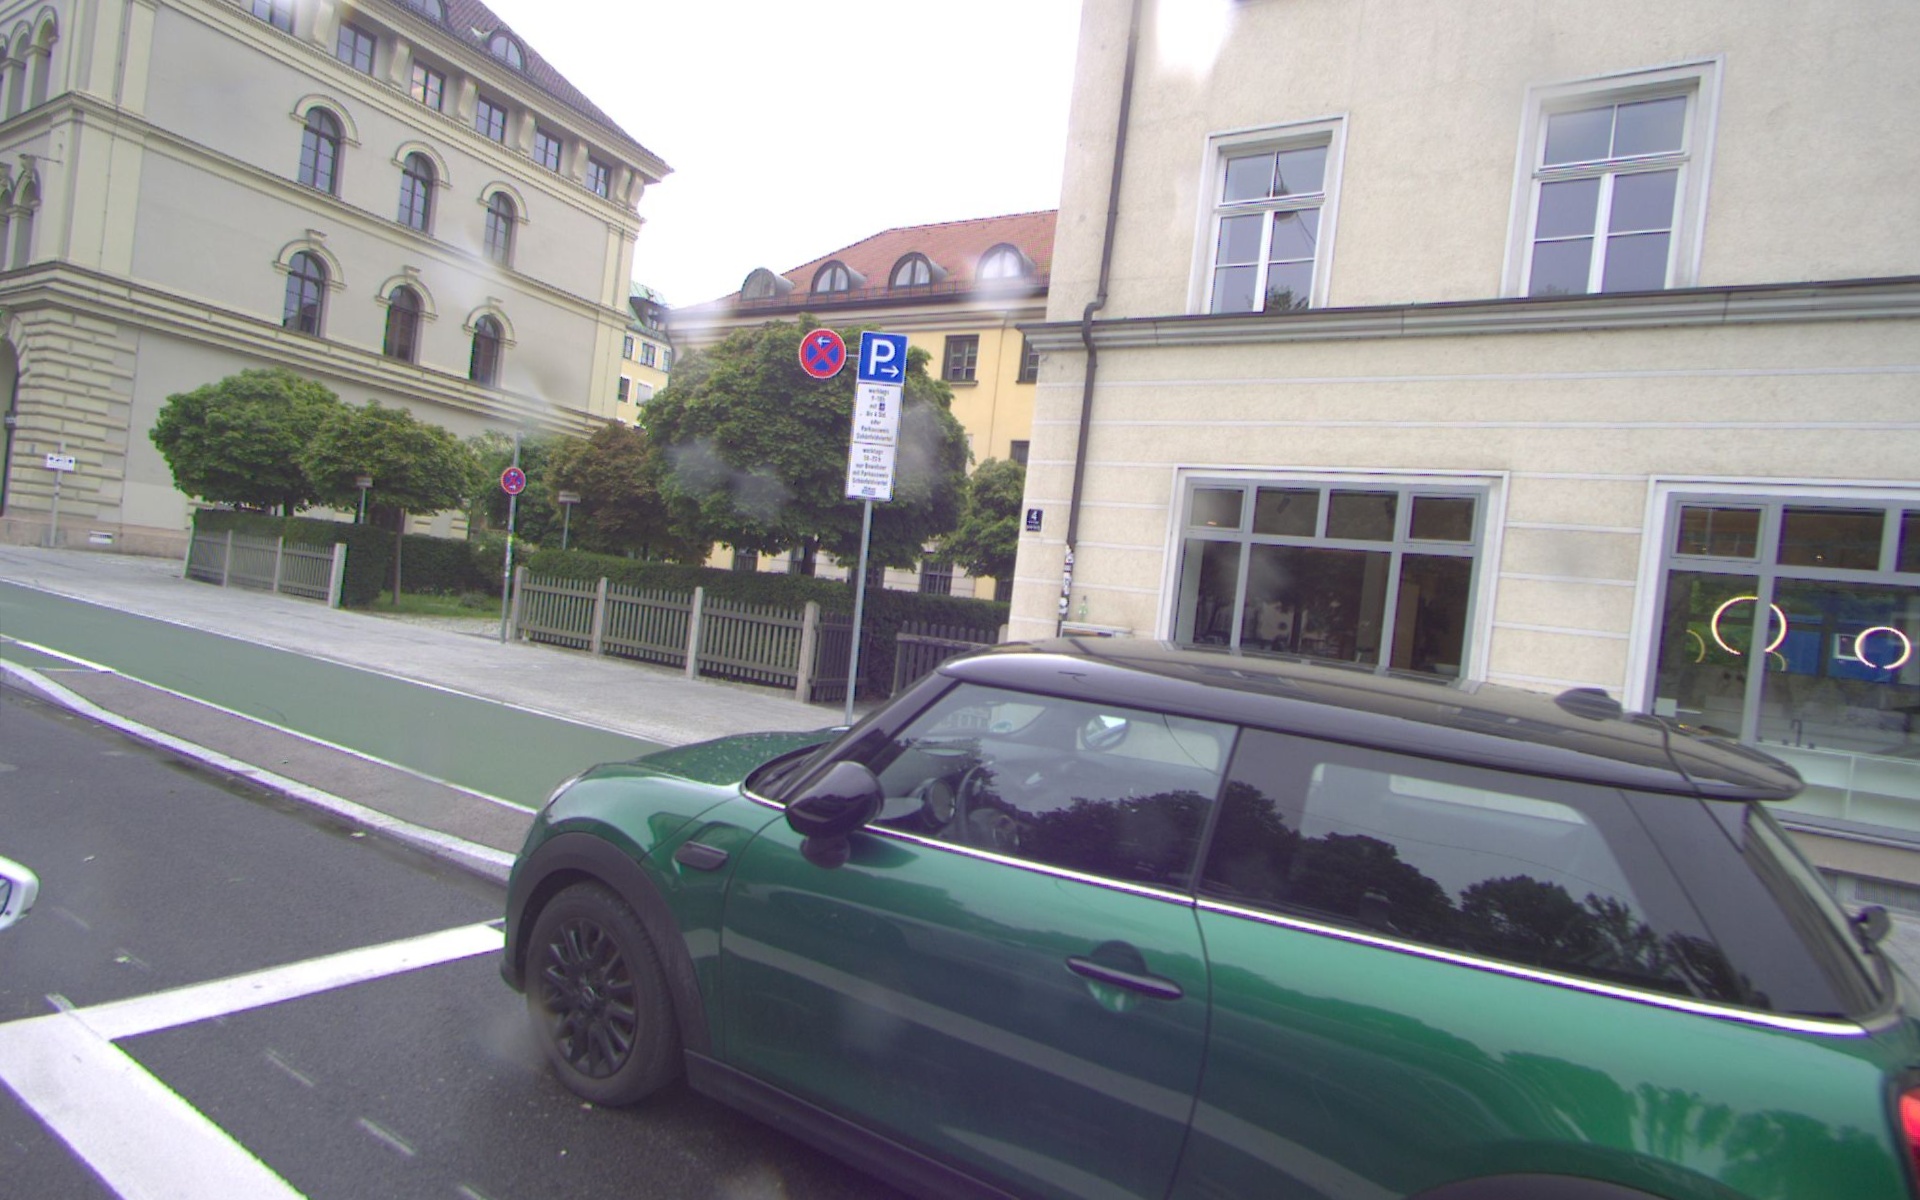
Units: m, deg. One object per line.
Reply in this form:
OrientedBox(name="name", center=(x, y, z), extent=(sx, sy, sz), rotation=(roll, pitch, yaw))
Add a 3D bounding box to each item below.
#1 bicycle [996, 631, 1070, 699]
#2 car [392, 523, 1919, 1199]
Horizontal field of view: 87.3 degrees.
OrientedBox(name="bicycle", center=(1.363, 1.209, 18.486), extent=(0.512, 1.130, 1.831), rotation=(7, -1, 30))
OrientedBox(name="car", center=(0.274, 0.782, 2.949), extent=(3.766, 1.538, 1.678), rotation=(7, -1, 33))
